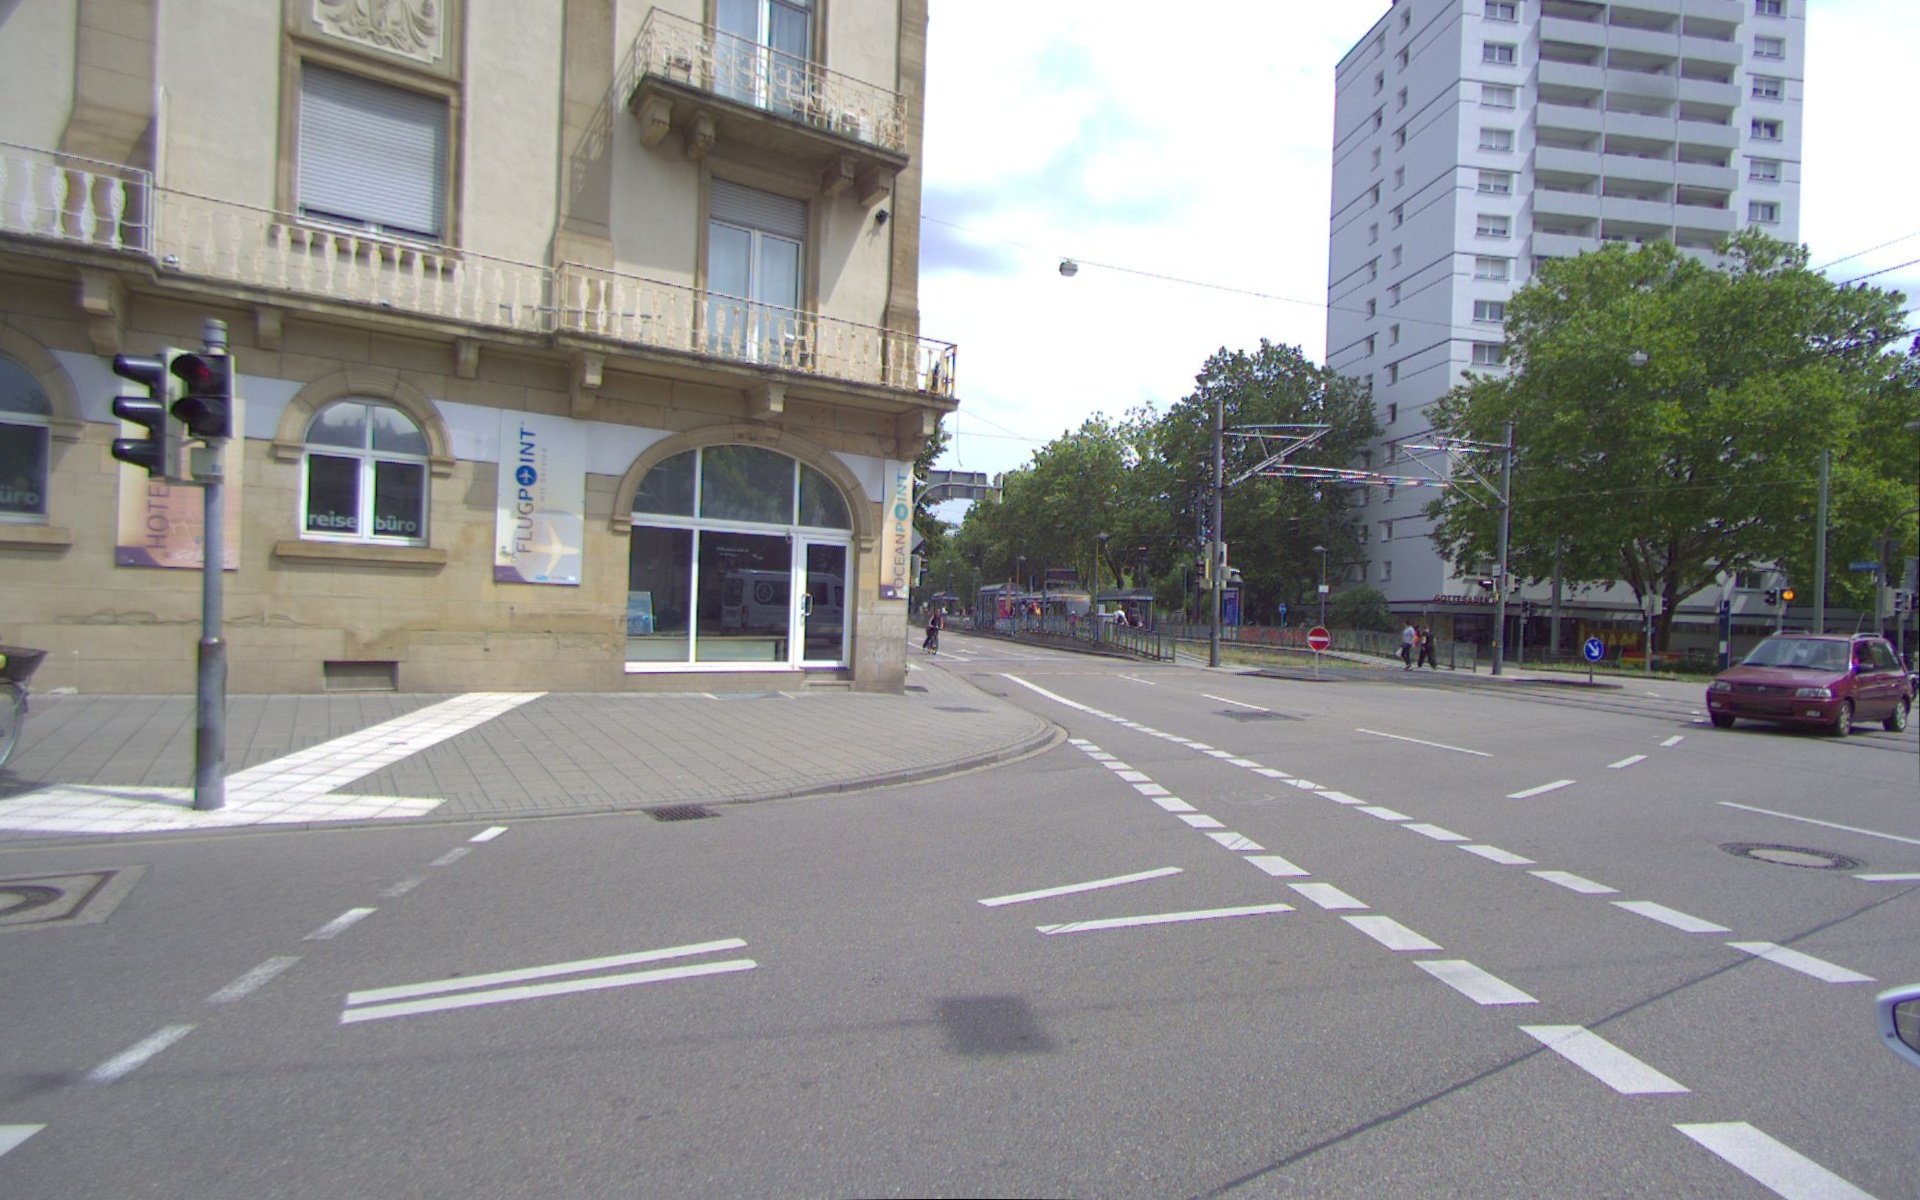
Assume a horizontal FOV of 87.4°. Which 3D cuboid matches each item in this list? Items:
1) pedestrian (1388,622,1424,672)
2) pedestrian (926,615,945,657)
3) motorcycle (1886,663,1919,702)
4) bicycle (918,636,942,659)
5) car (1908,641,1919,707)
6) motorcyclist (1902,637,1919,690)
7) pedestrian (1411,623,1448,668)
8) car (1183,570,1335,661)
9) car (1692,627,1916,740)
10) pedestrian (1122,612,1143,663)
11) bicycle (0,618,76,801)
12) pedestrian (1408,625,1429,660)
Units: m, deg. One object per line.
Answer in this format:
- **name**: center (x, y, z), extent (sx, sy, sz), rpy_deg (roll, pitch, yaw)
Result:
- **pedestrian**: center (14.519, 1.522, 32.724), extent (0.710, 1.593, 0.808), rpy_deg (2, -1, -8)
- **pedestrian**: center (-0.950, 1.379, 38.703), extent (0.606, 1.584, 0.460), rpy_deg (2, -1, -15)
- **motorcycle**: center (25.760, 2.203, 27.029), extent (2.298, 0.984, 0.679), rpy_deg (2, -1, -33)
- **bicycle**: center (-1.167, 1.809, 38.496), extent (0.639, 0.821, 1.266), rpy_deg (2, -1, -15)
- **car**: center (23.243, 1.708, 22.614), extent (3.986, 1.446, 1.734), rpy_deg (2, -1, -31)
- **motorcyclist**: center (26.202, 1.727, 27.323), extent (0.674, 1.414, 0.679), rpy_deg (2, -1, -32)
- **pedestrian**: center (16.419, 1.594, 35.113), extent (0.919, 1.534, 0.720), rpy_deg (2, -1, -21)
- **car**: center (14.505, 0.732, 49.889), extent (3.391, 3.967, 9.905), rpy_deg (2, -1, -7)
- **car**: center (13.162, 1.243, 15.612), extent (3.765, 1.527, 1.583), rpy_deg (2, -1, -32)
- **pedestrian**: center (7.248, 1.568, 42.237), extent (0.643, 2.114, 0.590), rpy_deg (2, 0, -15)
- **bicycle**: center (-6.666, 0.762, 6.511), extent (0.489, 1.182, 1.877), rpy_deg (3, 1, -11)
- **pedestrian**: center (25.656, 2.376, 56.220), extent (0.726, 1.909, 0.764), rpy_deg (2, -1, -6)
